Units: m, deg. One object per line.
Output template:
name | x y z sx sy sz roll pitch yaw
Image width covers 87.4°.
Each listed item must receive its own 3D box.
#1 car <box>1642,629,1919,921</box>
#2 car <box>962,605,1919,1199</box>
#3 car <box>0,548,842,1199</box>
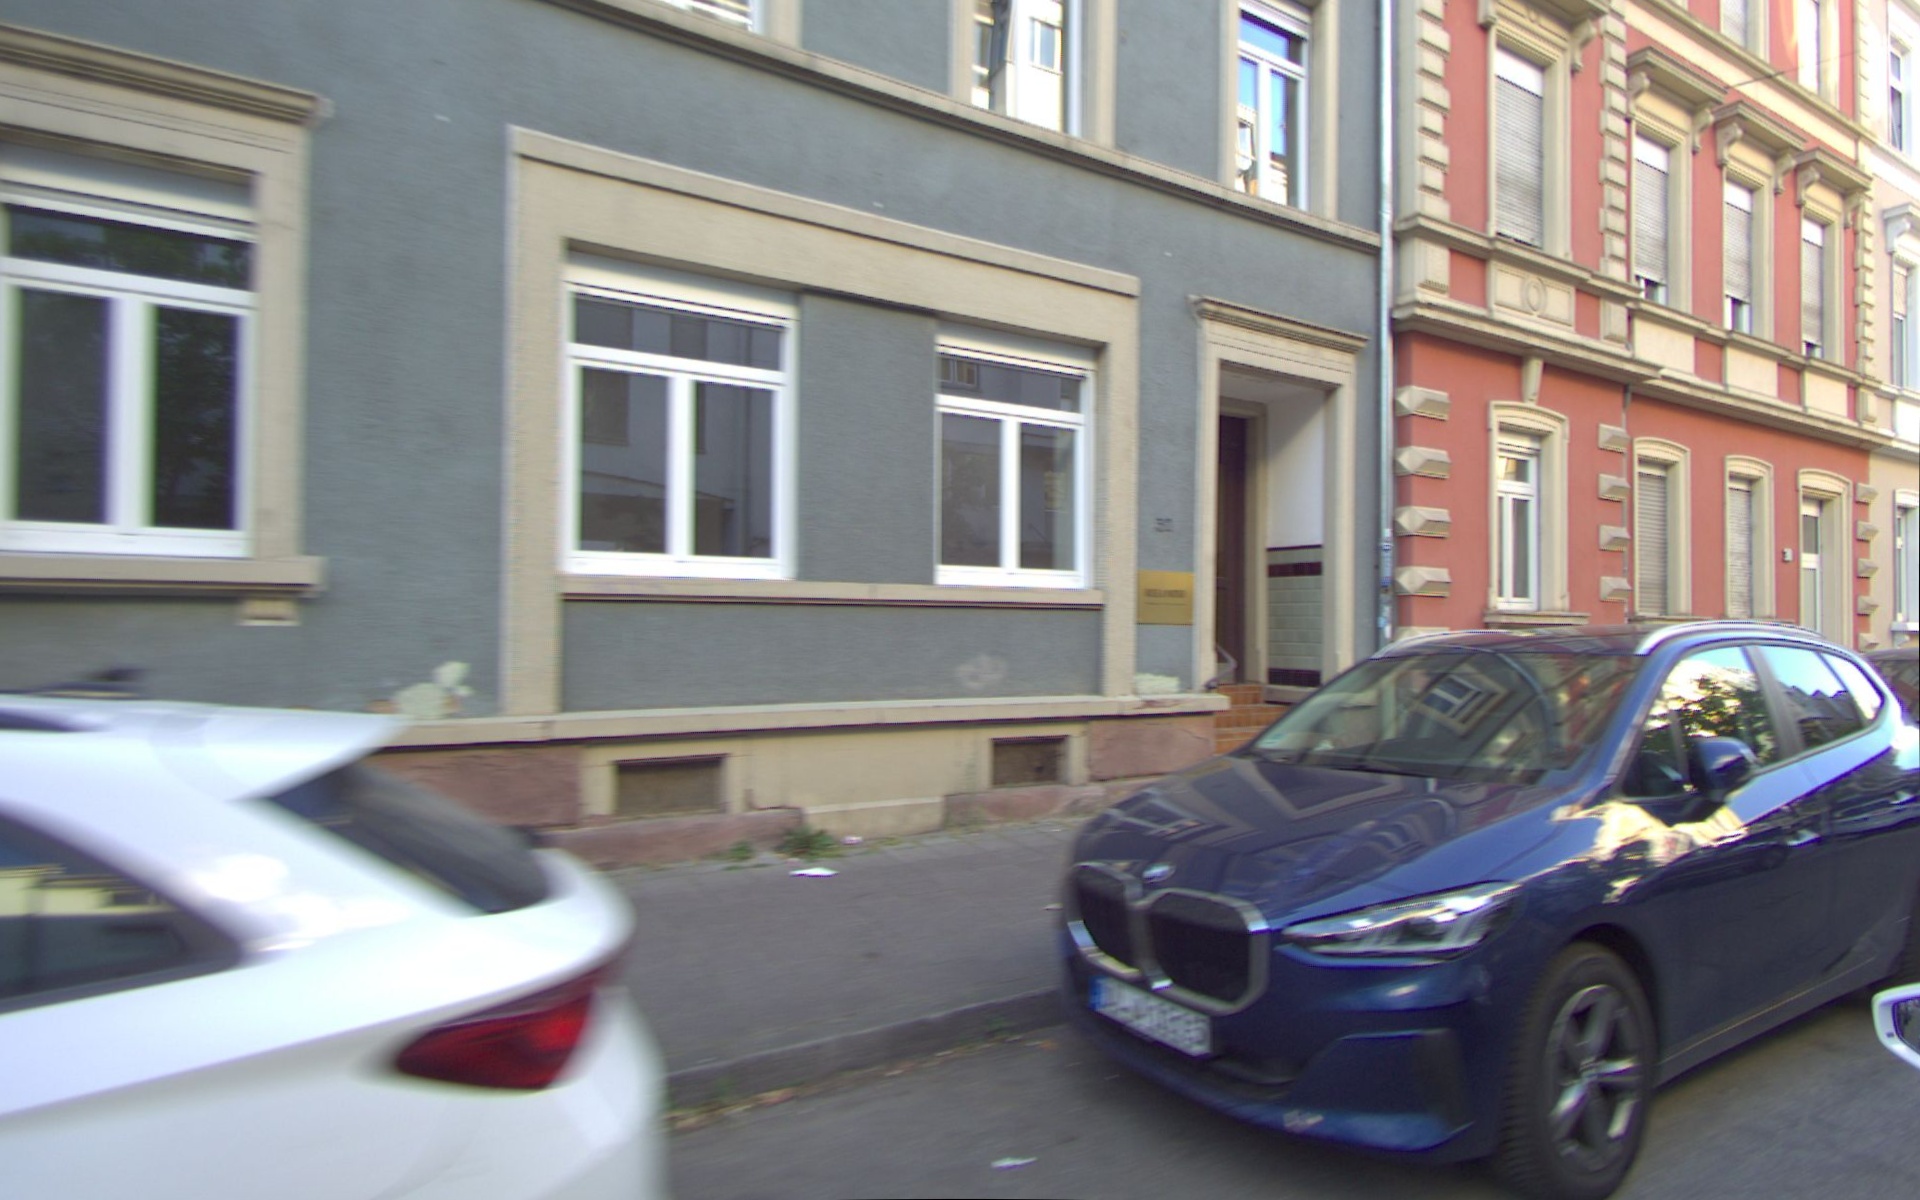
car | 6.787 0.994 6.891 4.192 1.580 1.892 1 -4 -32
car | 2.303 0.882 4.093 4.218 1.580 1.911 1 -4 -32
car | -2.469 0.777 1.302 4.218 1.580 1.911 1 -4 -32
